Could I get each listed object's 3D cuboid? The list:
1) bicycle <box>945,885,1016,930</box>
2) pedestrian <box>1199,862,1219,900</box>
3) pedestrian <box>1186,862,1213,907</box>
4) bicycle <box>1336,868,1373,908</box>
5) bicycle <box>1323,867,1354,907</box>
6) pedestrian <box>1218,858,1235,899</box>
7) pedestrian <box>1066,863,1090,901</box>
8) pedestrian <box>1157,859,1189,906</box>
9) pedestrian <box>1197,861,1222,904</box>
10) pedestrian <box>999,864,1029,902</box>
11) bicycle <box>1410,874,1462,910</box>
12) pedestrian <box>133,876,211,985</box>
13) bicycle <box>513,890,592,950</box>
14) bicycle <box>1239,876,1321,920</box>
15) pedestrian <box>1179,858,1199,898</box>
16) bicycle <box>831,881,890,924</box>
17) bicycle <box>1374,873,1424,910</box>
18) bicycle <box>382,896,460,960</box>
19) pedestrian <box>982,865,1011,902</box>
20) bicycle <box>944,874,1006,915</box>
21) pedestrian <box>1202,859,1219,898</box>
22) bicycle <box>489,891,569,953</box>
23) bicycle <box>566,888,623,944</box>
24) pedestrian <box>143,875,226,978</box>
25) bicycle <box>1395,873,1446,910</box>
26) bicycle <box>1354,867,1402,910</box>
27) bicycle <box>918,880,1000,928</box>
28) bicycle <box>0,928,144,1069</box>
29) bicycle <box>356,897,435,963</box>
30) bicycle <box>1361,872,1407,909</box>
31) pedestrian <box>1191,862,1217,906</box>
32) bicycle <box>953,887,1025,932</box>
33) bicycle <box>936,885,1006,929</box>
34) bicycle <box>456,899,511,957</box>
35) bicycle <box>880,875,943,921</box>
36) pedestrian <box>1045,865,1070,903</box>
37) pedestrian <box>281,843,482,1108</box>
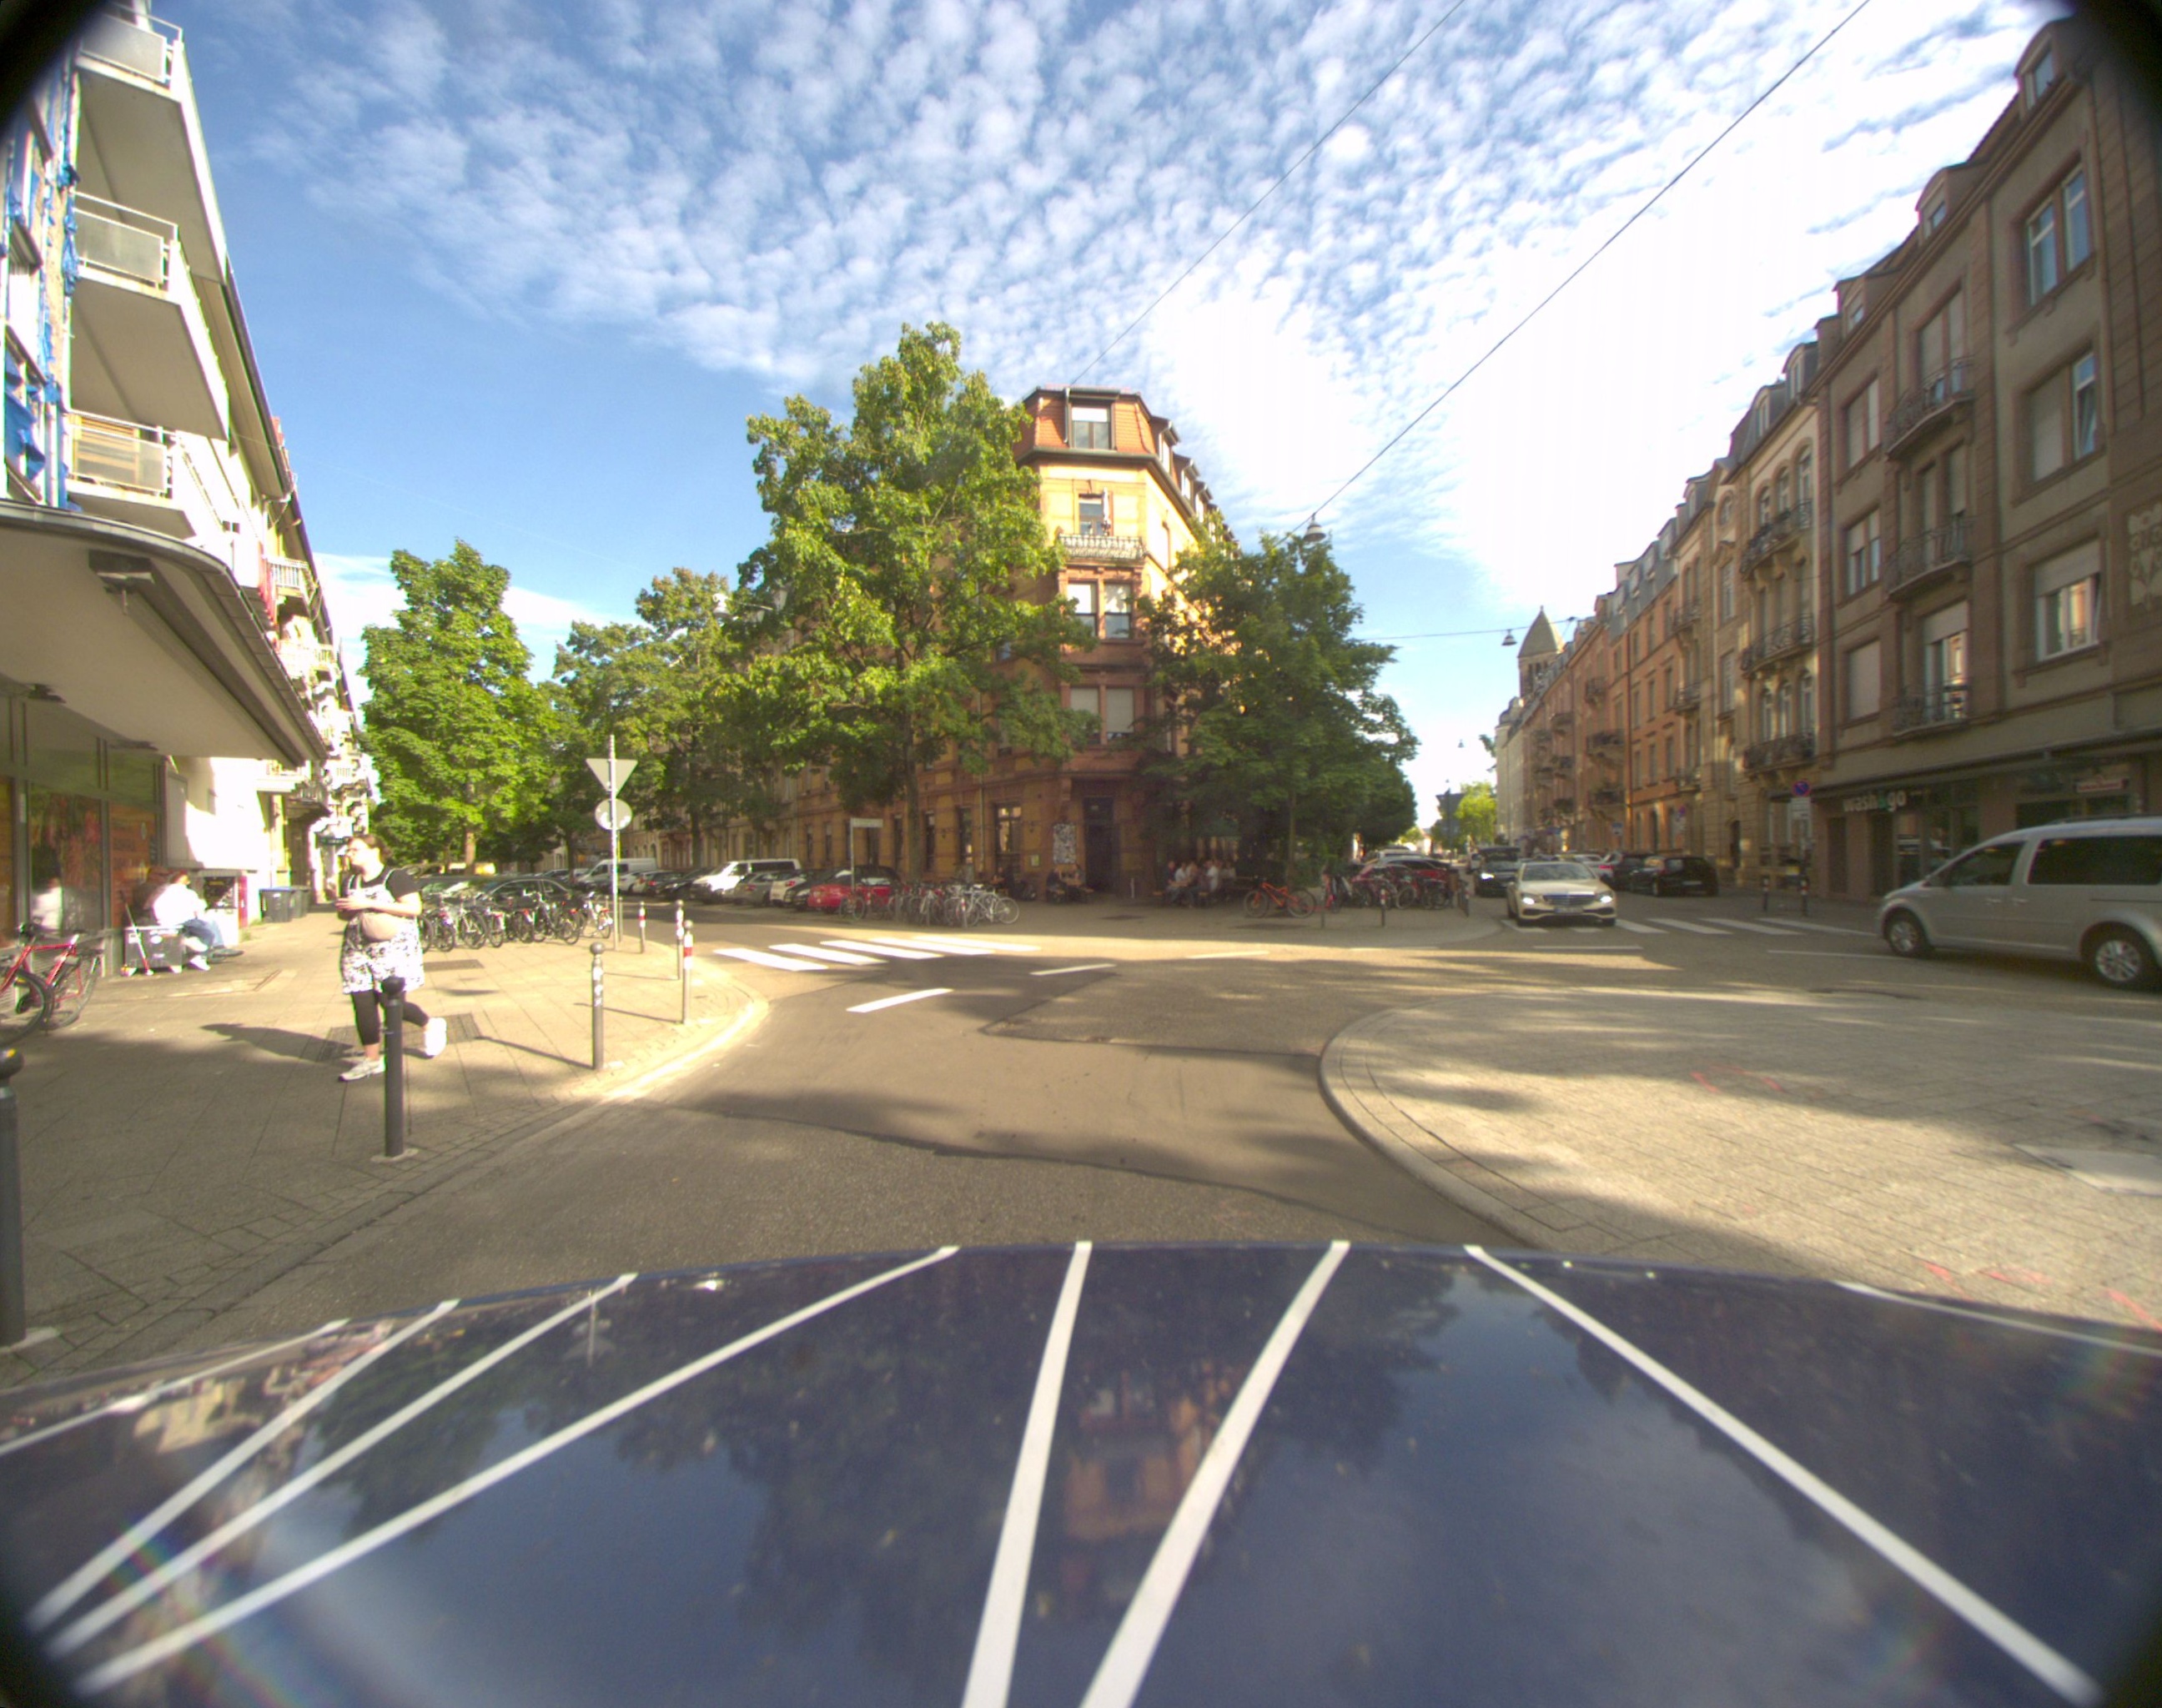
[{"bbox_3d":[-2.548,1.349,19.320,1.715,0.981,0.447,-3,2,-28],"label":"bicycle"},{"bbox_3d":[4.221,0.889,25.146,0.548,1.225,0.621,-1,1,0],"label":"pedestrian"},{"bbox_3d":[3.512,0.900,22.460,0.728,1.307,0.521,-1,0,12],"label":"pedestrian"},{"bbox_3d":[8.135,0.992,22.644,0.475,1.094,1.675,1,1,-1],"label":"bicycle"},{"bbox_3d":[7.639,0.973,22.620,0.433,1.094,1.675,1,1,4],"label":"bicycle"},{"bbox_3d":[4.893,0.813,25.580,0.466,1.320,0.621,-1,1,0],"label":"pedestrian"},{"bbox_3d":[-0.101,0.970,26.221,0.642,1.252,0.510,-3,3,-34],"label":"pedestrian"},{"bbox_3d":[2.812,0.858,23.258,0.671,1.371,0.715,-2,1,-31],"label":"pedestrian"},{"bbox_3d":[3.980,0.873,23.512,0.728,1.307,0.608,-1,0,12],"label":"pedestrian"},{"bbox_3d":[-2.381,1.009,26.973,0.770,1.278,0.627,-4,2,-43],"label":"pedestrian"},{"bbox_3d":[10.546,1.112,22.648,0.472,0.979,1.863,1,1,-7],"label":"bicycle"},{"bbox_3d":[-13.342,1.089,11.172,0.751,1.497,0.669,-1,0,43],"label":"pedestrian"},{"bbox_3d":[-10.767,1.322,15.454,1.849,1.169,0.414,-1,-1,24],"label":"bicycle"},{"bbox_3d":[4.911,1.075,18.764,1.852,1.029,0.685,-1,1,23],"label":"bicycle"},{"bbox_3d":[3.592,0.786,25.228,0.548,1.293,0.621,-1,1,0],"label":"pedestrian"},{"bbox_3d":[-6.409,1.382,22.008,0.583,1.090,2.493,-6,4,-40],"label":"bicycle"},{"bbox_3d":[9.446,1.084,22.639,0.472,0.979,1.863,1,1,-7],"label":"bicycle"},{"bbox_3d":[-12.079,1.331,13.899,1.694,1.080,0.422,0,0,25],"label":"bicycle"},{"bbox_3d":[-3.056,1.045,27.558,0.770,1.278,0.627,-4,2,-43],"label":"pedestrian"},{"bbox_3d":[-3.257,1.220,23.411,1.803,1.108,0.598,-3,2,-37],"label":"bicycle"},{"bbox_3d":[4.436,0.840,26.127,0.466,1.320,0.621,-1,1,0],"label":"pedestrian"},{"bbox_3d":[-11.004,1.334,15.129,1.849,1.169,0.414,-1,-1,24],"label":"bicycle"},{"bbox_3d":[-10.962,1.370,17.090,1.848,1.169,0.414,-1,-1,35],"label":"bicycle"},{"bbox_3d":[-13.898,1.091,11.800,0.755,1.497,0.666,-1,0,-45],"label":"pedestrian"},{"bbox_3d":[10.092,1.090,22.648,0.472,0.979,1.863,1,1,-7],"label":"bicycle"},{"bbox_3d":[8.675,0.982,22.253,0.475,1.136,1.837,1,1,-7],"label":"bicycle"},{"bbox_3d":[-3.188,1.289,19.974,2.048,1.083,0.447,-3,2,-28],"label":"bicycle"},{"bbox_3d":[-9.189,1.236,6.757,0.584,1.026,1.532,0,-1,-31],"label":"bicycle"},{"bbox_3d":[-12.274,1.333,13.589,1.694,1.080,0.422,0,0,25],"label":"bicycle"},{"bbox_3d":[8.986,1.066,22.594,0.418,0.979,1.837,1,1,-7],"label":"bicycle"},{"bbox_3d":[3.721,0.900,22.944,0.728,1.307,0.521,-1,0,12],"label":"pedestrian"},{"bbox_3d":[-2.281,1.359,18.951,1.715,0.964,0.447,-3,2,-28],"label":"bicycle"},{"bbox_3d":[-2.828,1.348,19.660,1.715,0.981,0.447,-3,2,-28],"label":"bicycle"},{"bbox_3d":[-11.495,1.400,14.610,1.498,1.012,0.414,-1,-1,35],"label":"bicycle"},{"bbox_3d":[-4.956,1.268,22.253,1.715,1.195,0.447,-3,2,-37],"label":"bicycle"},{"bbox_3d":[-0.801,1.004,25.848,0.642,1.218,0.510,-3,3,-34],"label":"pedestrian"},{"bbox_3d":[-5.014,0.805,5.491,0.612,1.743,0.843,-1,0,17],"label":"pedestrian"}]
